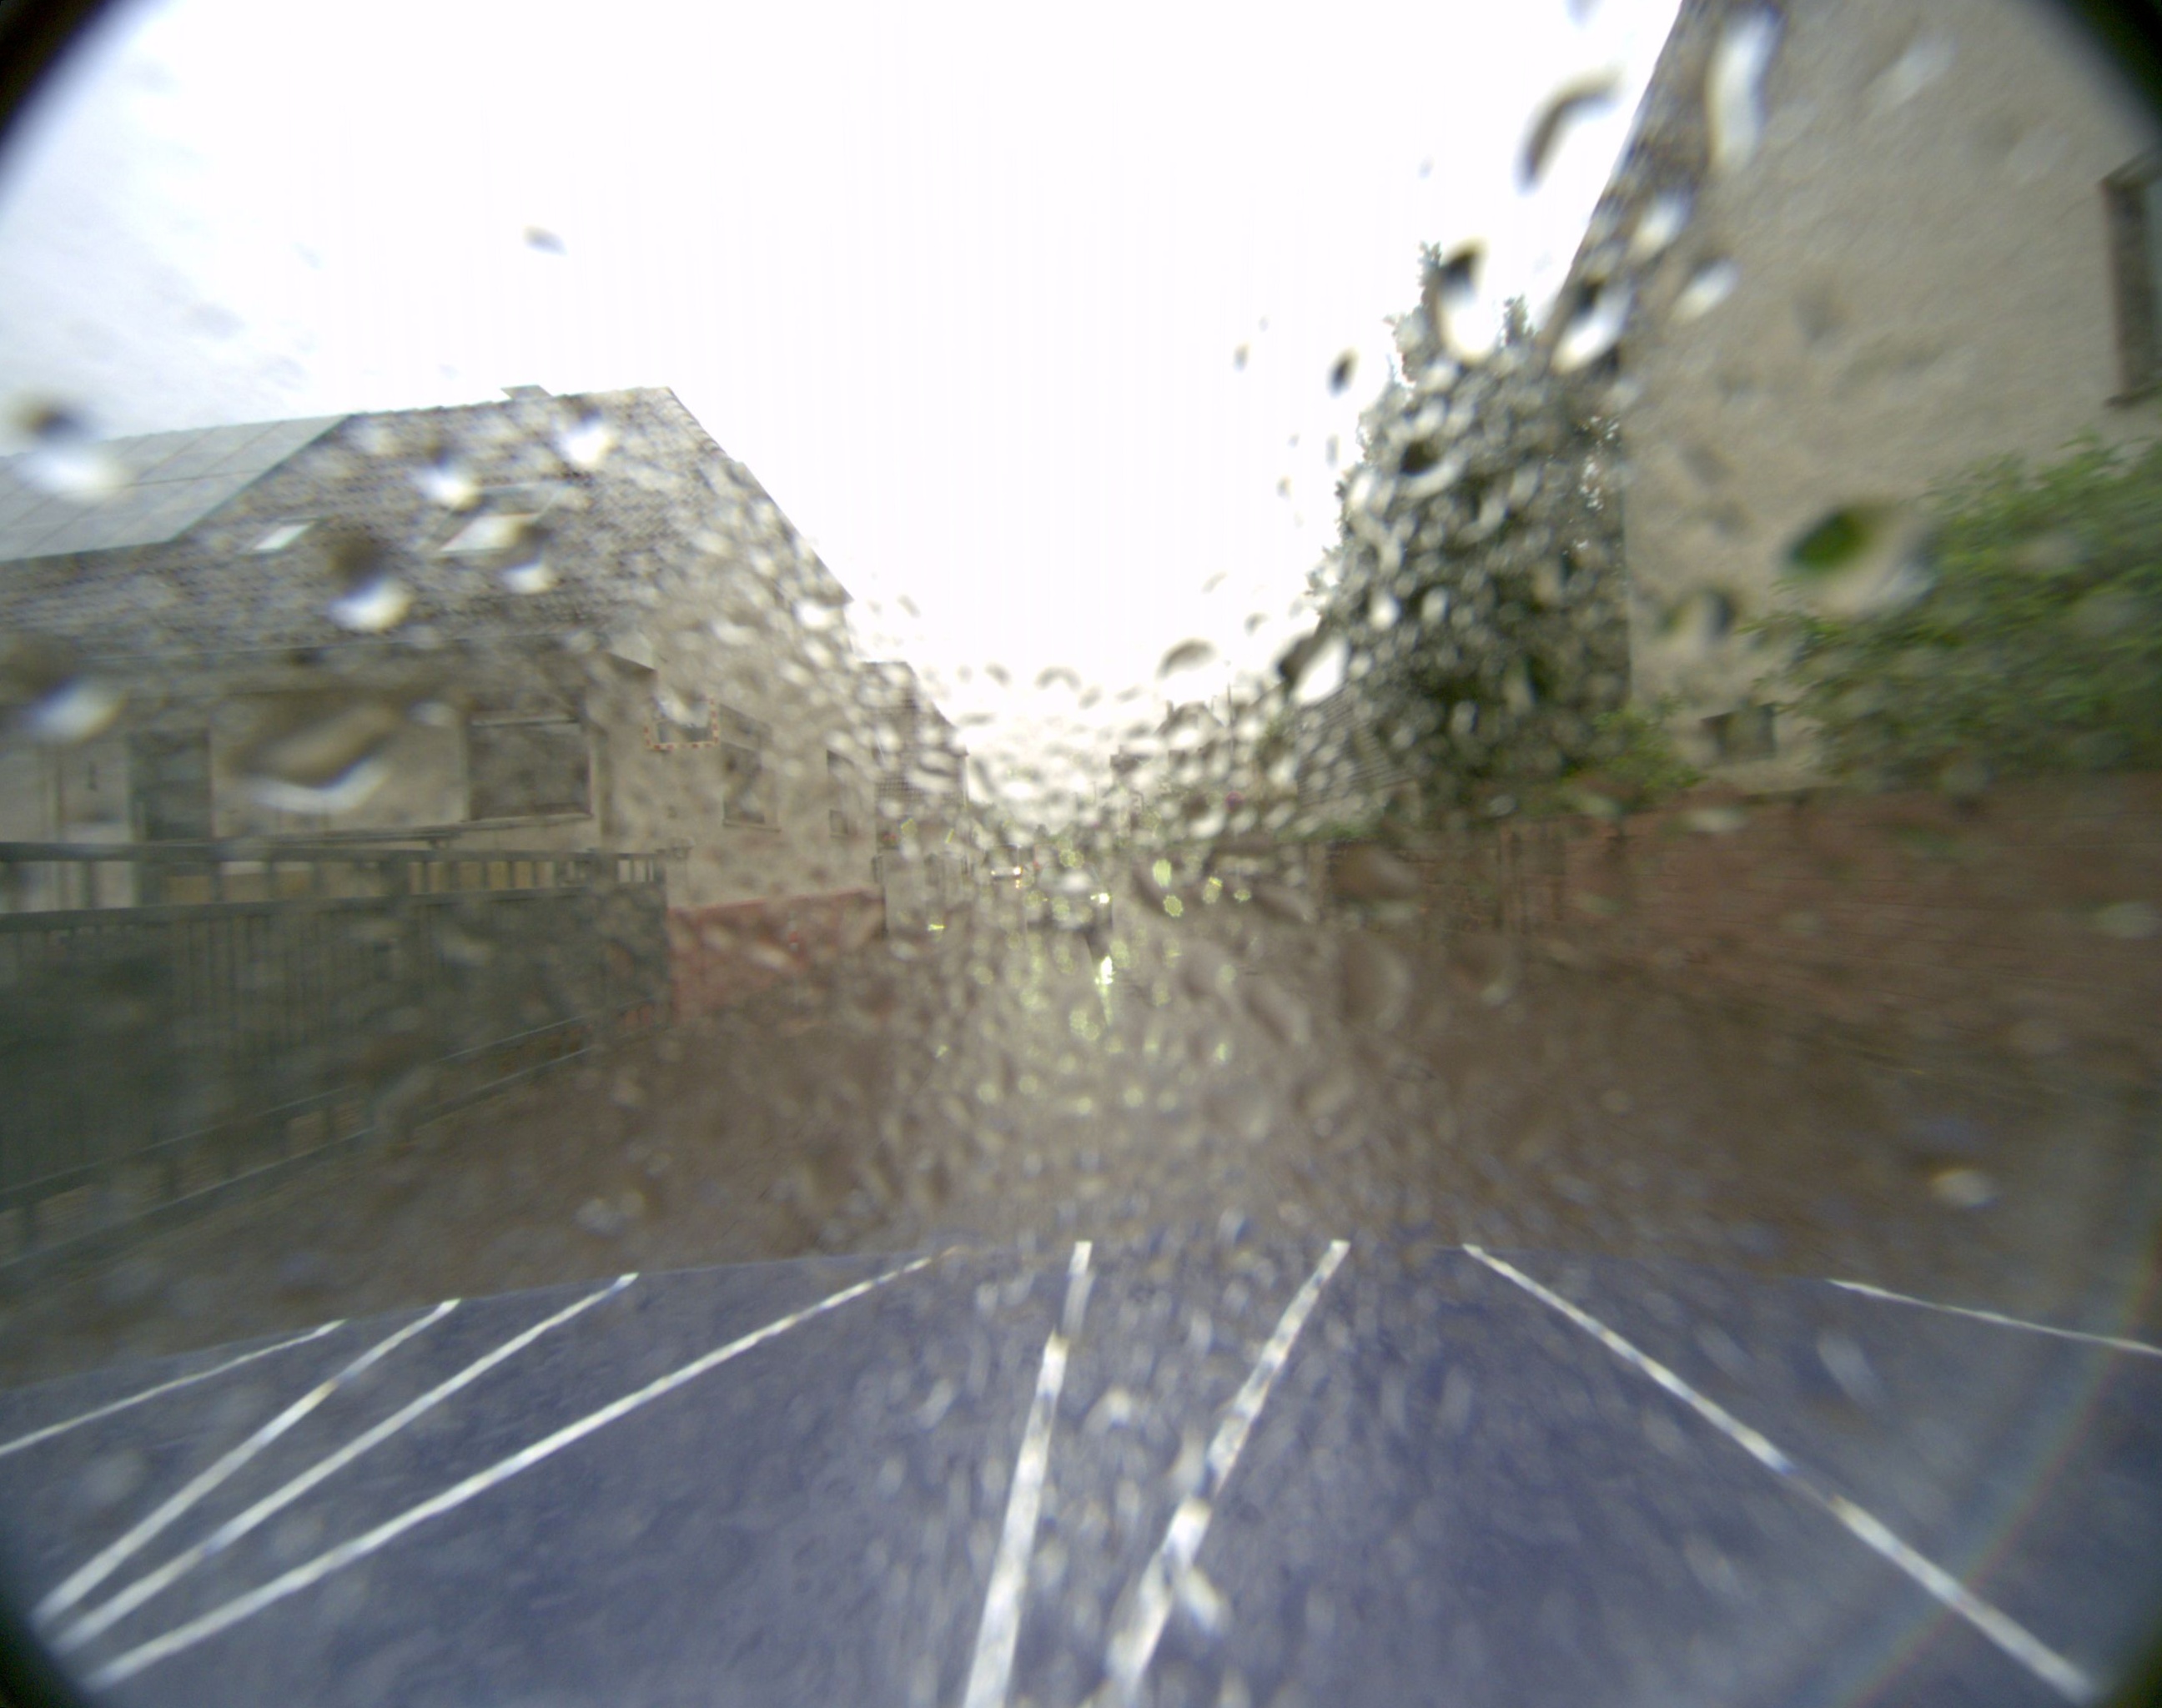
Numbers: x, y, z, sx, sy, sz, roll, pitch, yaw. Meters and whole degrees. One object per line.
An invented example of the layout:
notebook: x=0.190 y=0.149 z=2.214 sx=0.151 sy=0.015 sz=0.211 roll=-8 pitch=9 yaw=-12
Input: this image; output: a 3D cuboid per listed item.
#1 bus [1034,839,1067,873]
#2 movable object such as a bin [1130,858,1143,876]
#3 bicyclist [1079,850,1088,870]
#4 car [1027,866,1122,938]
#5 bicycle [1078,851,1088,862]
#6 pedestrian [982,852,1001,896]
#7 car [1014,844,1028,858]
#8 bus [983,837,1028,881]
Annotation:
bus: x=-2.965 y=0.150 z=75.823 sx=2.814 sy=2.922 sz=11.938 roll=-4 pitch=0 yaw=-2
movable object such as a bin: x=2.919 y=0.675 z=39.894 sx=0.539 sy=0.925 sz=0.544 roll=-4 pitch=1 yaw=-8
bicyclist: x=0.203 y=0.585 z=69.009 sx=0.658 sy=1.759 sz=0.703 roll=-4 pitch=-1 yaw=-6
car: x=-0.276 y=0.982 z=17.242 sx=1.781 sy=1.348 sz=4.186 roll=-2 pitch=0 yaw=-5
bicycle: x=0.198 y=0.263 z=68.957 sx=0.663 sy=0.865 sz=1.934 roll=-4 pitch=-2 yaw=-6
pedestrian: x=-3.601 y=0.782 z=30.617 sx=0.696 sy=1.722 sz=0.820 roll=-3 pitch=1 yaw=-6
car: x=-9.371 y=-0.460 z=118.572 sx=1.999 sy=2.002 sz=4.241 roll=-4 pitch=1 yaw=-6
bus: x=-6.693 y=0.394 z=69.380 sx=3.442 sy=3.392 sz=13.864 roll=-3 pitch=1 yaw=-4
